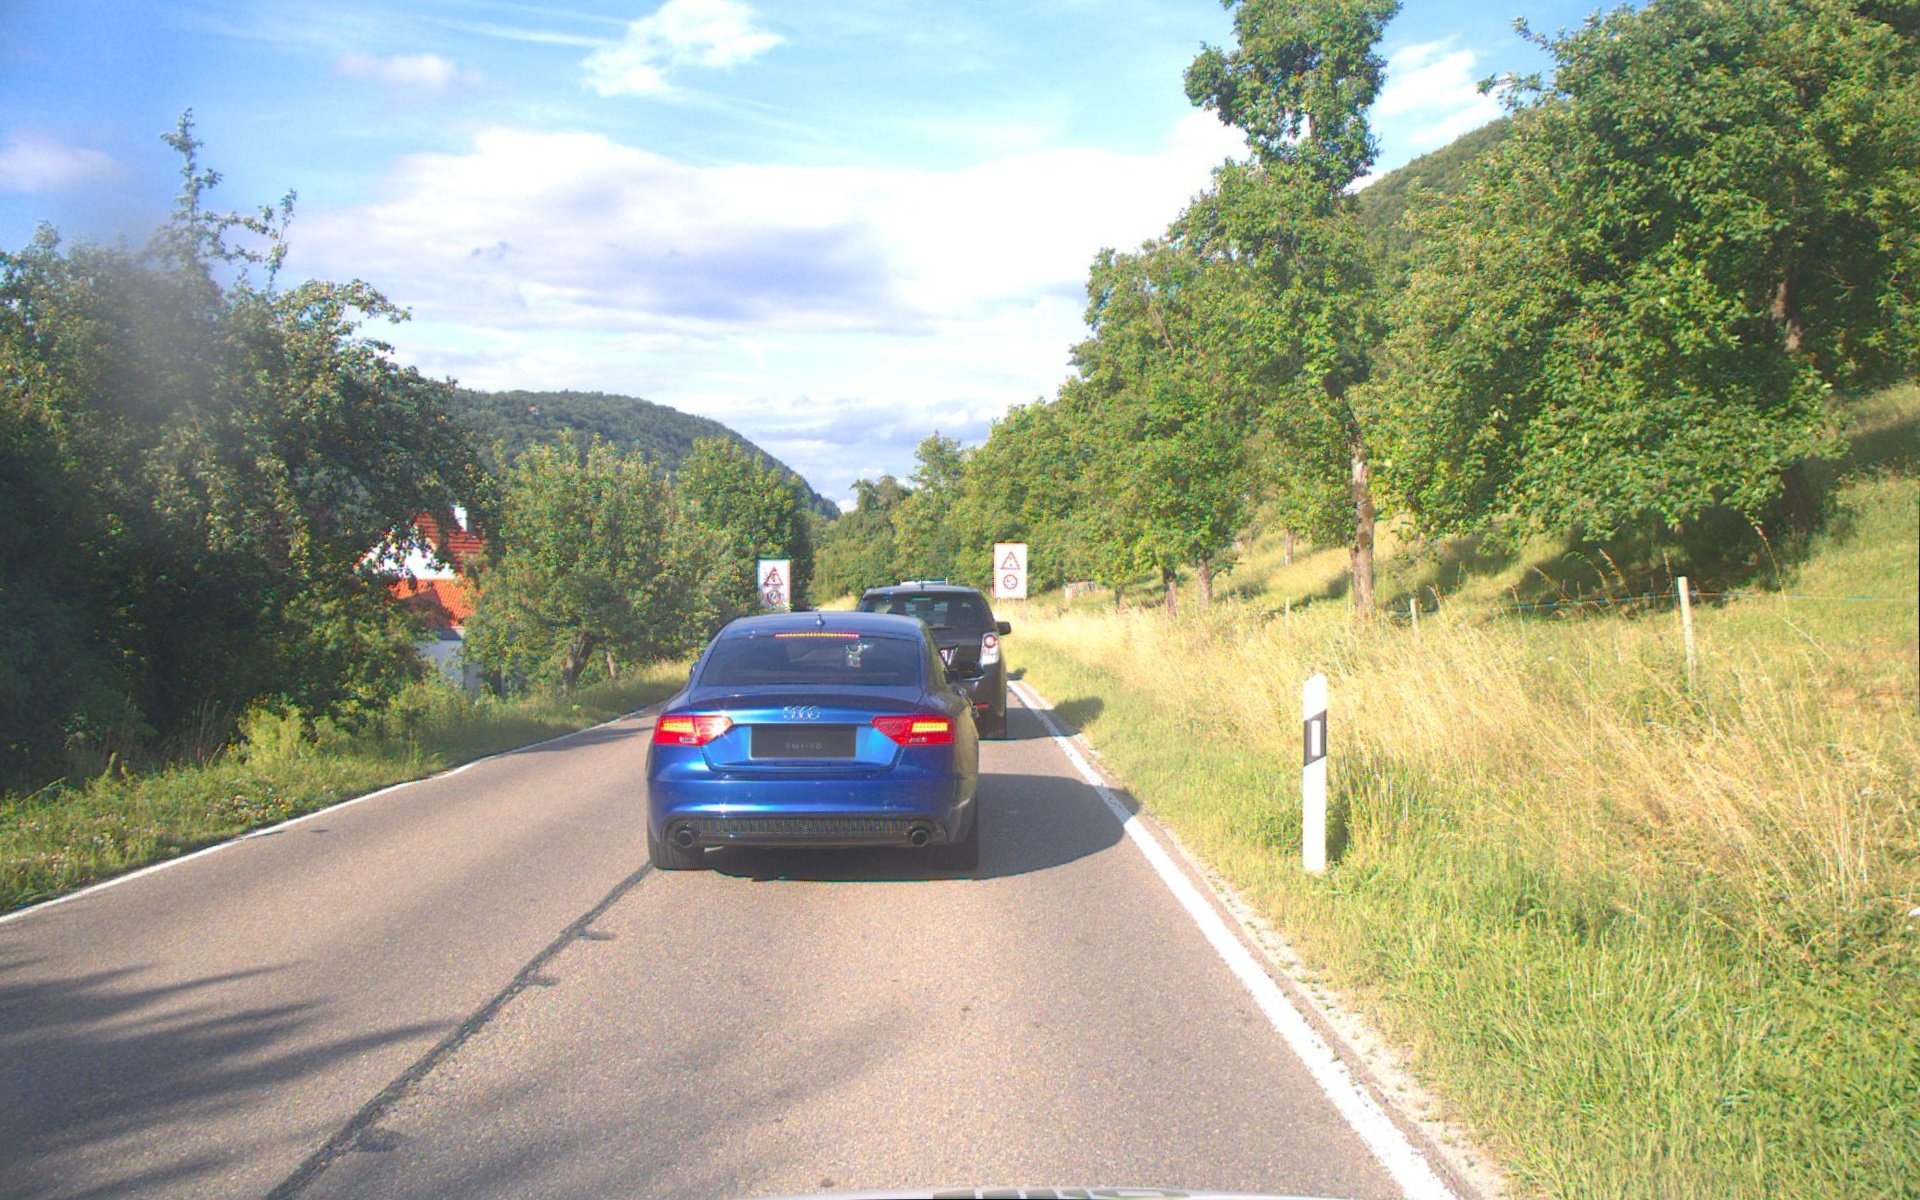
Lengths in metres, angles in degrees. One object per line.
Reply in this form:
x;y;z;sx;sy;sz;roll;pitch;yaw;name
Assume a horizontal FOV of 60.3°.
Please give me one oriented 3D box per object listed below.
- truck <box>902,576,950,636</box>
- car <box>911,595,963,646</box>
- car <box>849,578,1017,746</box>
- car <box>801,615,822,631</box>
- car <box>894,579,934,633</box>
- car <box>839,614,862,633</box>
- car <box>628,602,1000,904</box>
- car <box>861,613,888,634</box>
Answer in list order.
-1.485;0.243;70.470;1.910;2.386;5.092;2;0;-2;truck
-0.783;0.651;55.682;1.658;1.652;3.788;0;0;-1;car
-0.301;0.609;18.294;1.658;1.652;3.788;0;0;-1;car
-14.896;2.299;165.676;1.532;1.522;3.765;2;0;-13;car
-2.257;0.272;80.093;1.757;2.496;3.916;2;0;-4;car
-9.336;1.965;140.690;1.530;1.522;3.770;2;0;-9;car
-0.712;0.731;9.988;1.769;1.406;4.214;0;0;-1;car
-6.492;1.774;125.653;1.715;1.522;3.771;2;0;-8;car
